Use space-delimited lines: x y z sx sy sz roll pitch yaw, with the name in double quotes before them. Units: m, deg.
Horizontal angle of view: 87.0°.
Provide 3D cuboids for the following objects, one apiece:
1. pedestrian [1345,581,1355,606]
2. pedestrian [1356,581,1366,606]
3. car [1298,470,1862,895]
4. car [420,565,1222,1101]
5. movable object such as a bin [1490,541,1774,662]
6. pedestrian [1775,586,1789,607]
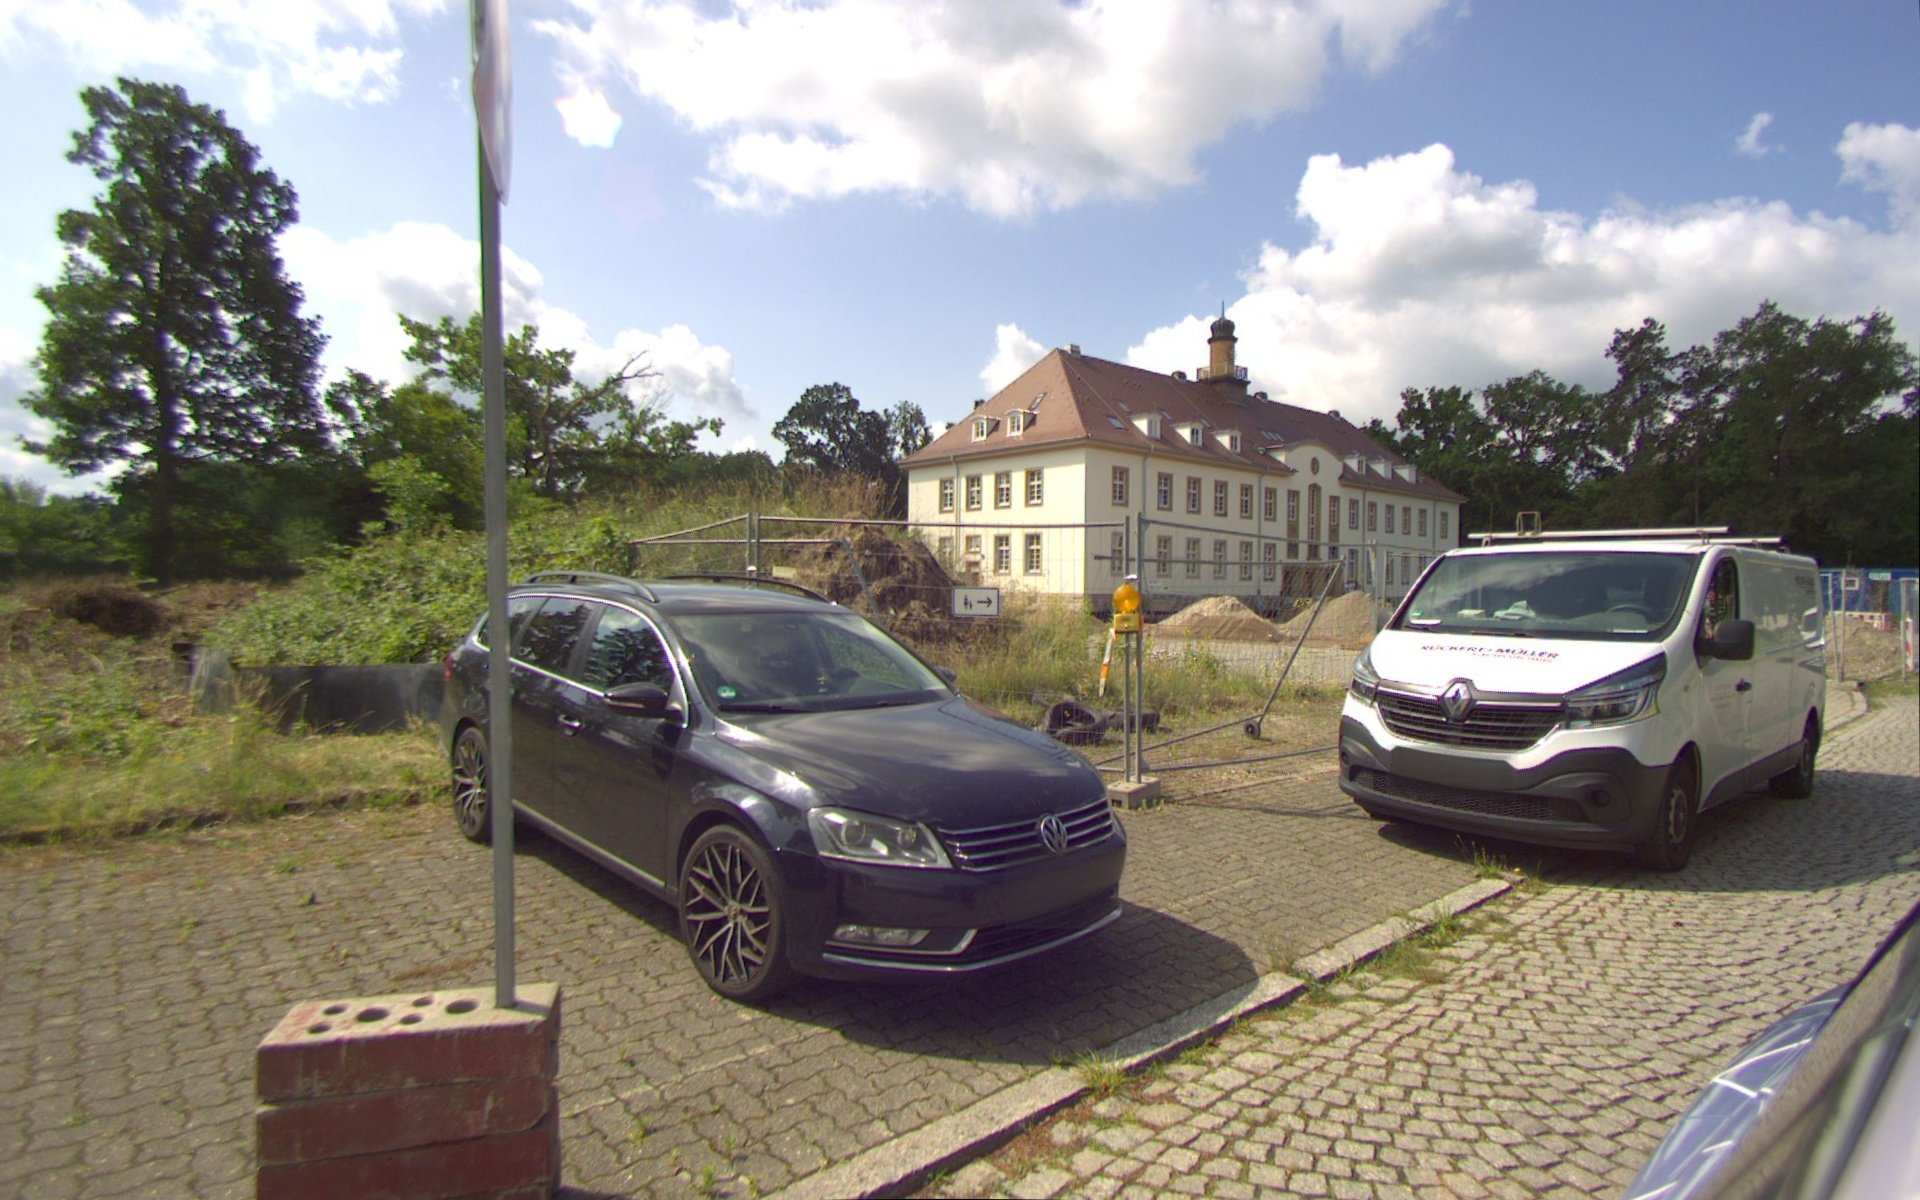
"pedestrian" 28.005 -0.460 72.646 0.496 1.810 0.492 0 0 -18
"pedestrian" 29.142 -0.468 73.518 0.498 1.810 0.490 1 0 -44
"car" 4.891 0.365 7.497 5.578 2.079 1.918 0 1 -40
"car" -1.102 0.623 5.156 1.717 1.493 4.457 0 3 -45
"movable object such as a bin" 15.479 0.038 23.398 5.537 2.553 2.154 1 1 -12
"pedestrian" 49.205 -0.192 60.579 0.671 1.258 0.602 0 0 -42
